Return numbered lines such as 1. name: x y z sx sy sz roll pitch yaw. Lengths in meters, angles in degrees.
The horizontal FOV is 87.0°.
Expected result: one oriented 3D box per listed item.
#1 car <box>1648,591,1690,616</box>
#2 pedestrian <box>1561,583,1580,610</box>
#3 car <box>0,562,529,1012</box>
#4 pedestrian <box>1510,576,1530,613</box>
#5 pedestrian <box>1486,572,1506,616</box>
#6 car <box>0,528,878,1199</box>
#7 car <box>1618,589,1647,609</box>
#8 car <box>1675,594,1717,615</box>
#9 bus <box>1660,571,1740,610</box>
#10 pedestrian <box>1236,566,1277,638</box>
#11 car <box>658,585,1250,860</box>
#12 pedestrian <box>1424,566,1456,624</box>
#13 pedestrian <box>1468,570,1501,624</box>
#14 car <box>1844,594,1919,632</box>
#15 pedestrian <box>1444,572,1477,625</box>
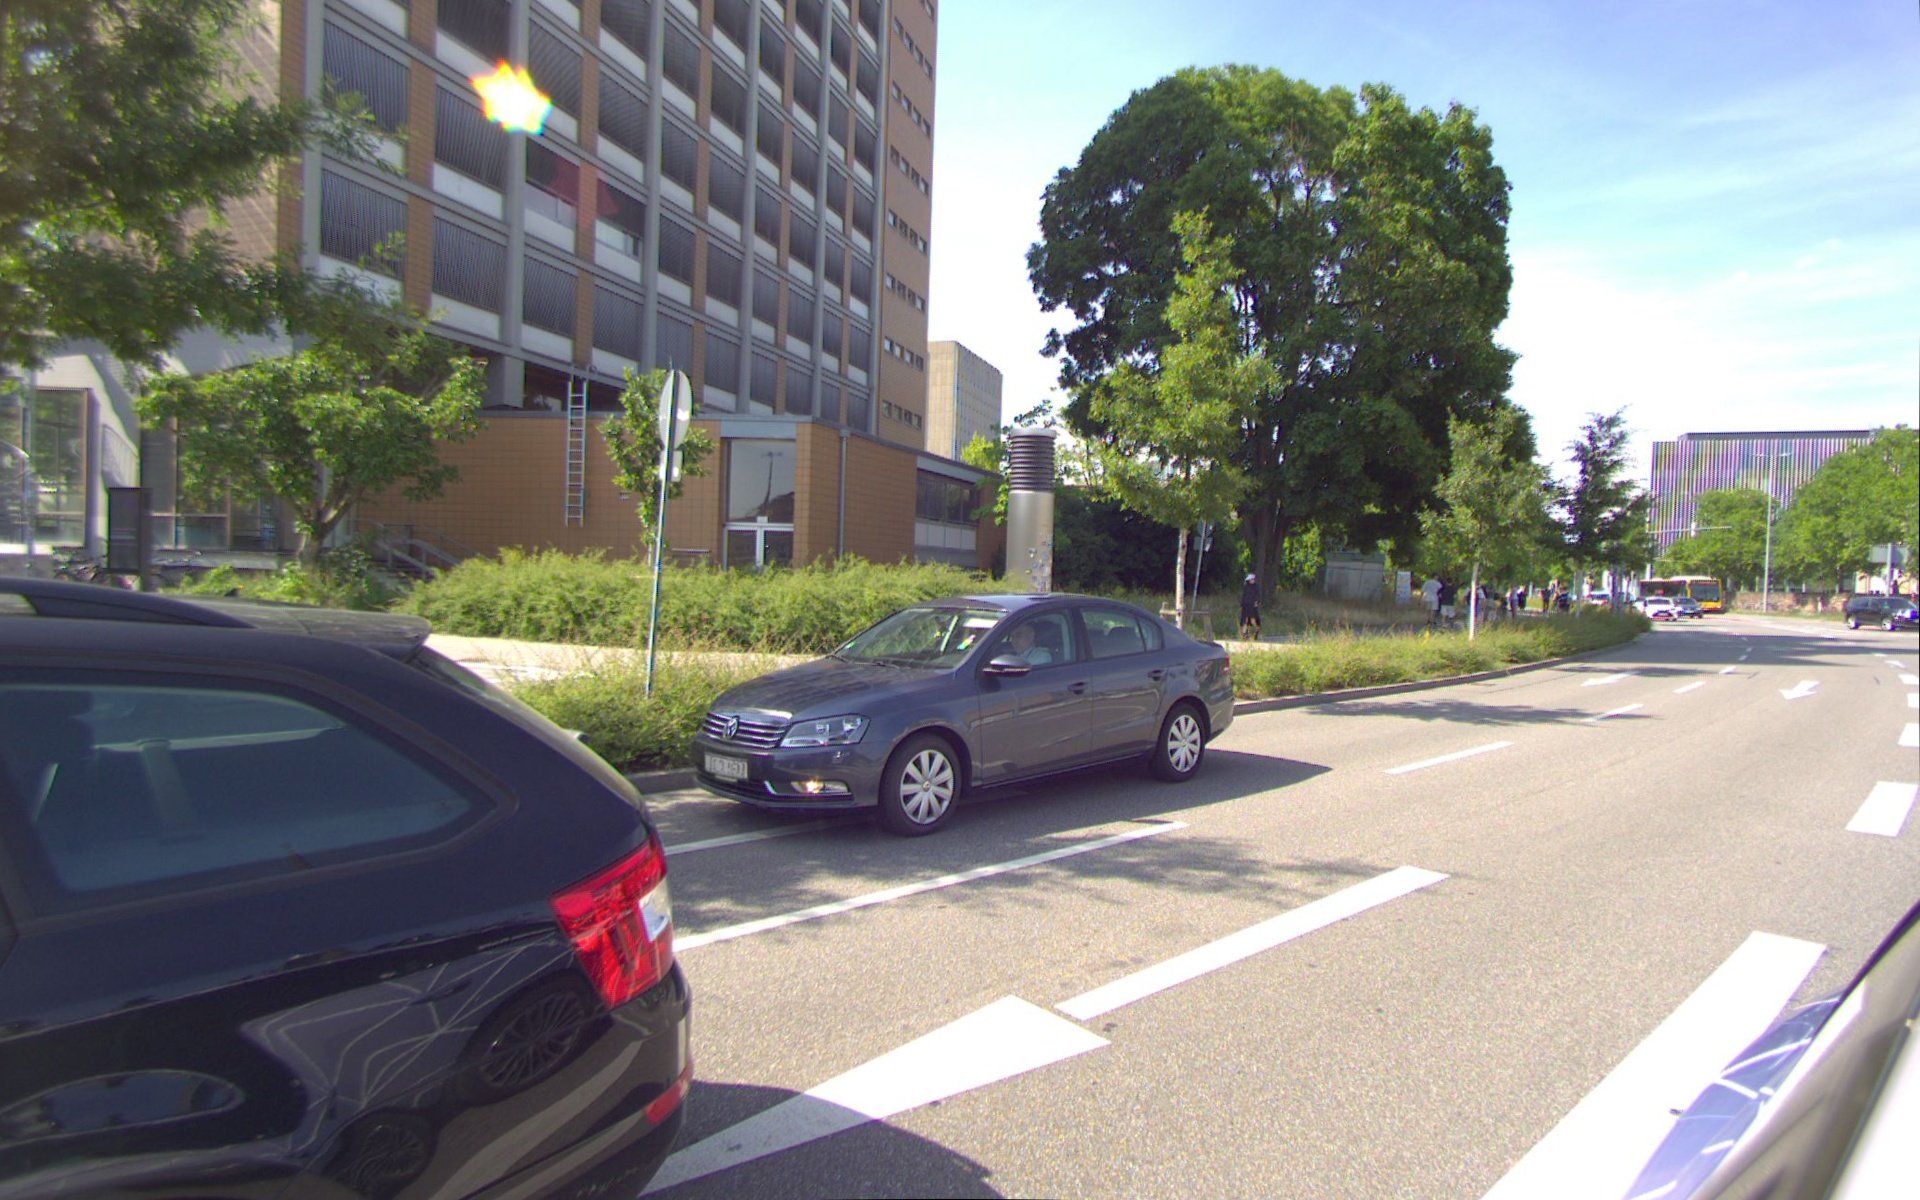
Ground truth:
1. car: 44.027 0.223 62.882 1.667 1.493 3.723 0 0 28
2. pedestrian: 26.968 -0.147 44.720 0.639 1.145 0.743 4 3 33
3. car: -4.057 0.583 3.592 4.322 1.447 1.703 1 2 -42
4. pedestrian: 23.108 -0.230 41.766 0.638 1.464 0.564 3 3 29
5. pedestrian: 22.344 -0.242 42.167 0.638 1.785 0.470 3 3 29
6. car: -2.446 0.639 1.090 4.698 1.453 1.633 -1 1 -42
7. car: 48.471 -0.098 72.980 1.397 1.311 3.546 2 2 28
8. car: 50.813 0.293 69.886 1.635 1.442 4.083 0 0 26
9. bus: 64.566 -0.864 88.624 2.765 3.076 12.055 2 1 23
10. pedestrian: 7.224 0.038 24.664 0.719 1.684 0.592 0 3 -41
11. car: 0.213 0.619 7.493 4.451 1.453 1.633 -1 1 -42
12. pedestrian: 15.826 -0.168 33.350 0.719 1.860 0.643 0 3 -41
13. pedestrian: 16.914 -0.091 32.664 0.739 1.694 0.643 0 3 -41
14. car: 45.674 0.583 49.094 1.724 1.751 4.117 0 0 -6
15. pedestrian: 16.246 -0.061 32.853 0.719 1.646 0.643 0 3 -41
